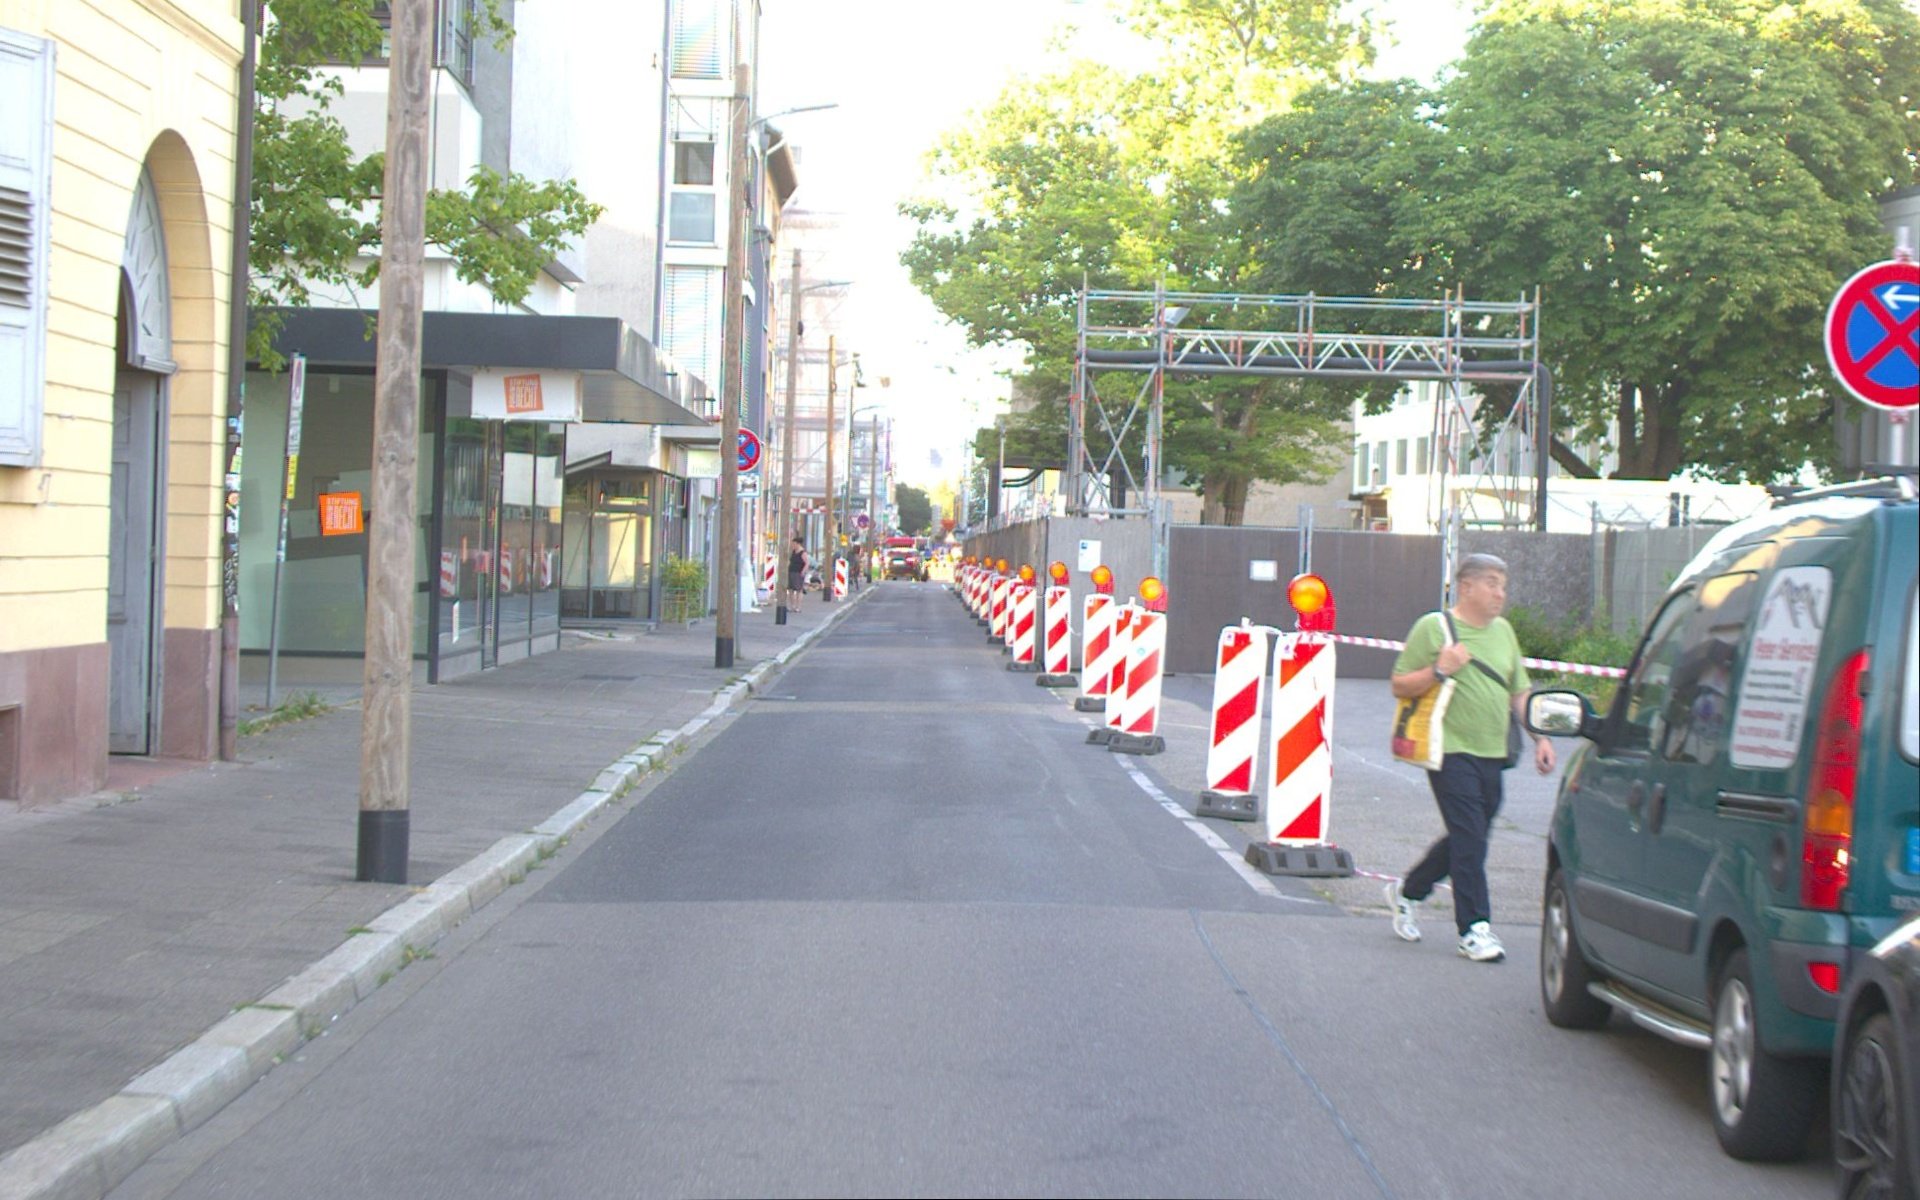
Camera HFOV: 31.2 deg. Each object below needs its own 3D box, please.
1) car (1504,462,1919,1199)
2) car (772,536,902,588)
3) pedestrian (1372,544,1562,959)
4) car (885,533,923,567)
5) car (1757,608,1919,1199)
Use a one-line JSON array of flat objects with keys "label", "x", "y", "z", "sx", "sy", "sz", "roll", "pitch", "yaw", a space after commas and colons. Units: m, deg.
[{"label": "car", "x": 2.835, "y": 0.585, "z": 10.318, "sx": 1.713, "sy": 1.842, "sz": 4.022, "roll": 2, "pitch": 1, "yaw": 0}, {"label": "car", "x": -3.719, "y": -1.158, "z": 103.769, "sx": 3.742, "sy": 1.454, "sz": 1.698, "roll": 2, "pitch": 0, "yaw": -7}, {"label": "pedestrian", "x": 2.062, "y": 0.595, "z": 14.066, "sx": 0.613, "sy": 1.623, "sz": 0.818, "roll": 2, "pitch": 1, "yaw": 2}, {"label": "car", "x": -2.848, "y": -2.552, "z": 176.015, "sx": 1.858, "sy": 1.656, "sz": 4.000, "roll": 2, "pitch": 1, "yaw": -1}, {"label": "car", "x": 2.732, "y": 0.813, "z": 6.006, "sx": 1.692, "sy": 1.454, "sz": 4.099, "roll": 2, "pitch": 1, "yaw": 0}]
